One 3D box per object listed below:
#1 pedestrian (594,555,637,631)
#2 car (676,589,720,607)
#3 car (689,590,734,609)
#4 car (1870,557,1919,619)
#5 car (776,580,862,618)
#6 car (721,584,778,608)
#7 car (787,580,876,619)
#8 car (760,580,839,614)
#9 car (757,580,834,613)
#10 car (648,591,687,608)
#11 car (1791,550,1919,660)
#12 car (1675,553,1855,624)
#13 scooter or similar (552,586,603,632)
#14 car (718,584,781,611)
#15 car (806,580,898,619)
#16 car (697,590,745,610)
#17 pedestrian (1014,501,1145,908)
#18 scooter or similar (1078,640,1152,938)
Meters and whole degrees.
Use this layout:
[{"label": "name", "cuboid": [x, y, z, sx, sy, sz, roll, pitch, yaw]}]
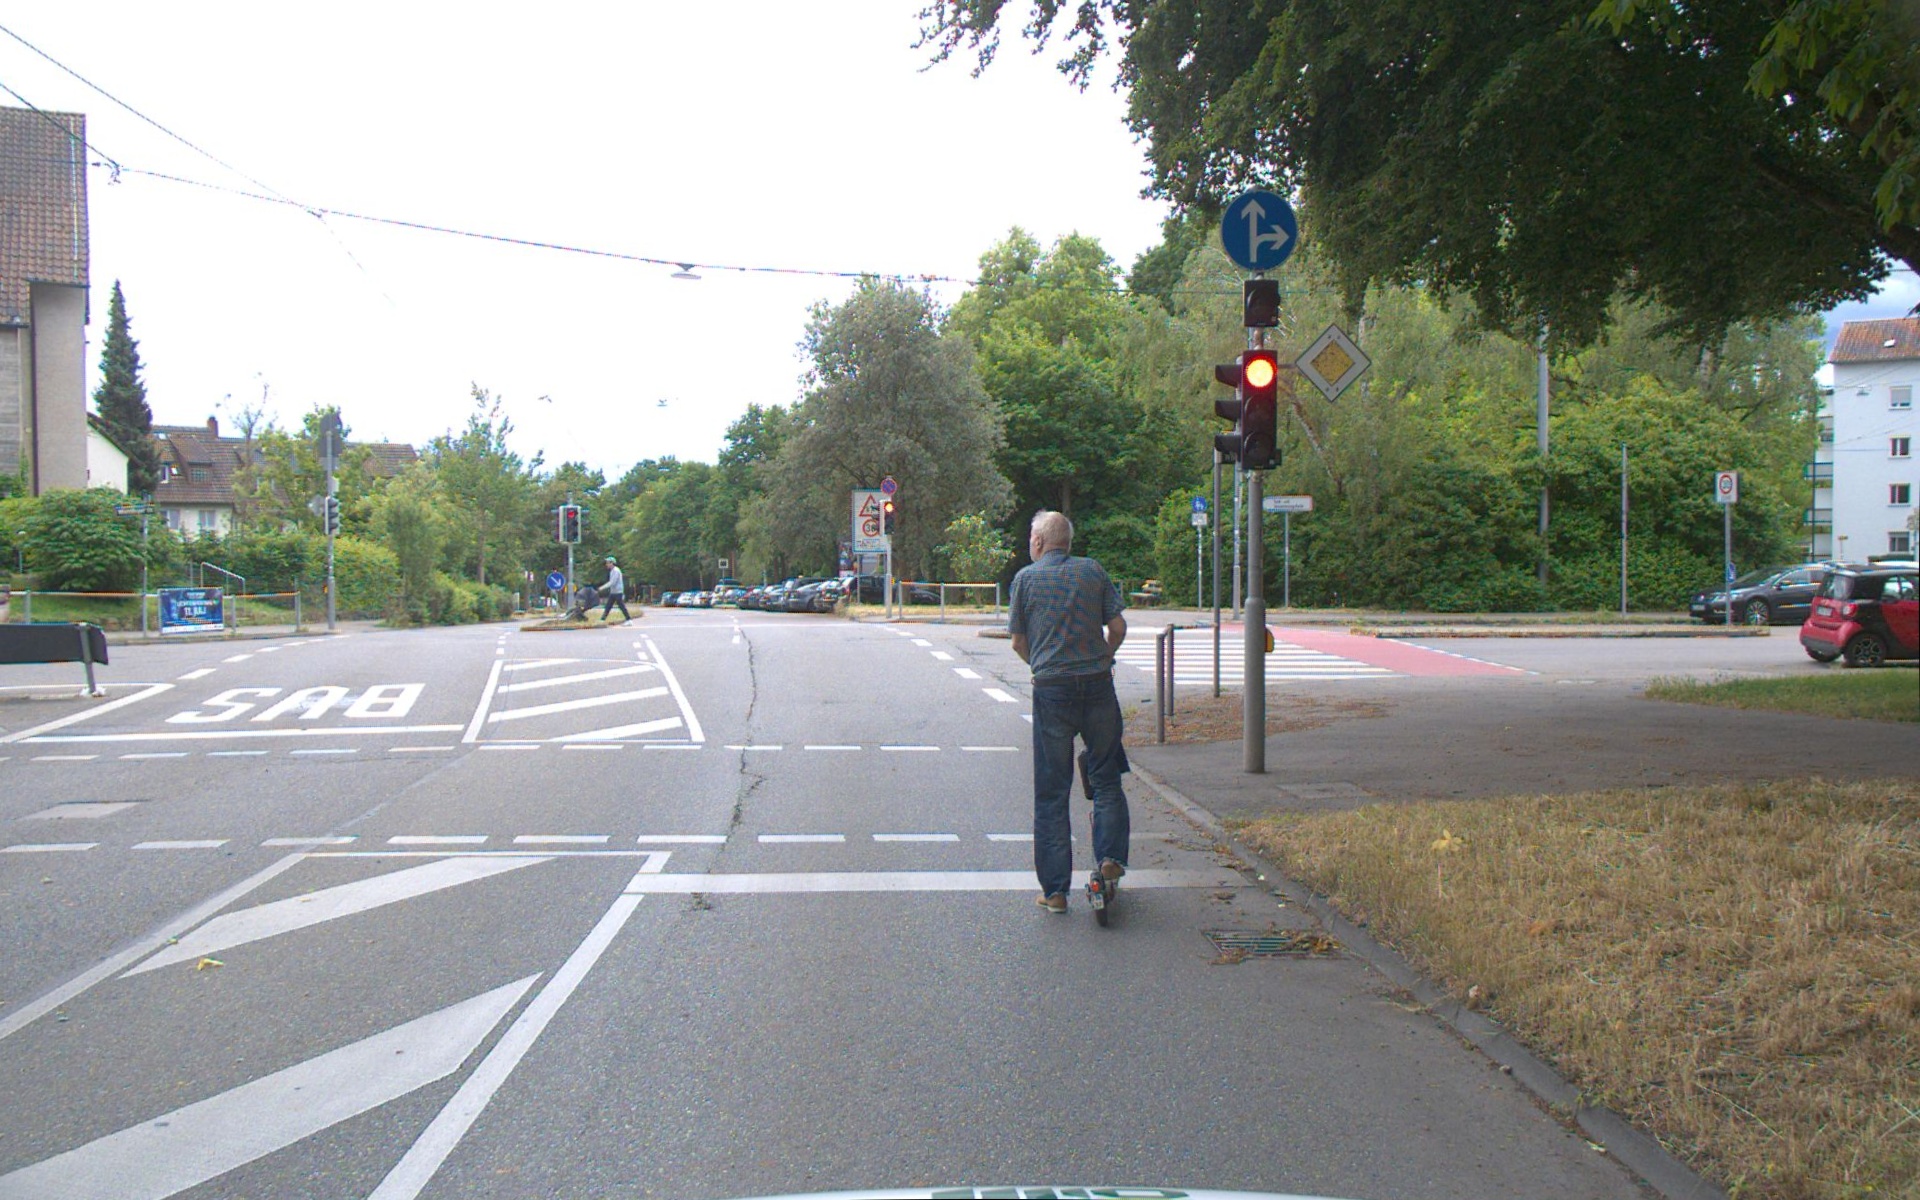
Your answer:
[{"label": "pedestrian", "cuboid": [-8.709, -0.184, 41.807, 0.876, 1.895, 0.567, -1, 1, -34]}, {"label": "car", "cuboid": [-25.131, -0.181, 158.557, 3.791, 1.639, 1.716, -2, 1, -24]}, {"label": "car", "cuboid": [-23.138, -0.079, 153.884, 3.791, 1.639, 1.716, -2, 1, -24]}, {"label": "car", "cuboid": [26.379, -0.365, 46.010, 1.689, 1.639, 3.850, -1, 1, 27]}, {"label": "car", "cuboid": [-6.765, -0.062, 79.373, 3.791, 1.639, 1.716, -2, 1, -24]}, {"label": "car", "cuboid": [-15.499, -0.297, 121.828, 3.791, 1.639, 1.716, -2, 1, -24]}, {"label": "car", "cuboid": [-5.970, -0.041, 76.844, 3.792, 1.639, 1.715, -2, 1, -25]}, {"label": "car", "cuboid": [-8.409, -0.183, 86.696, 3.791, 1.639, 1.716, -2, 1, -24]}, {"label": "car", "cuboid": [-8.849, -0.197, 89.101, 3.791, 1.639, 1.716, -2, 1, -24]}, {"label": "car", "cuboid": [-31.011, -0.089, 175.324, 3.791, 1.639, 1.716, -2, 1, -24]}, {"label": "car", "cuboid": [15.240, 0.028, 26.022, 3.444, 1.639, 1.729, -2, 1, 4]}, {"label": "car", "cuboid": [19.131, -0.289, 39.426, 3.444, 1.557, 1.729, -2, 1, 5]}, {"label": "scooter or similar", "cuboid": [-9.515, 0.214, 41.190, 1.098, 1.100, 0.570, -1, 1, -35]}, {"label": "car", "cuboid": [-13.836, -0.153, 108.886, 3.791, 1.639, 1.716, -2, 1, -24]}, {"label": "car", "cuboid": [-4.884, -0.033, 74.890, 3.788, 1.639, 1.717, -2, 1, -22]}, {"label": "car", "cuboid": [-20.624, 0.003, 142.619, 3.791, 1.639, 1.716, -2, 1, -24]}, {"label": "pedestrian", "cuboid": [0.565, 0.475, 7.745, 0.560, 1.845, 0.421, -1, 0, 7]}, {"label": "scooter or similar", "cuboid": [0.716, 0.807, 7.502, 0.276, 1.199, 1.178, -1, 1, 7]}]
